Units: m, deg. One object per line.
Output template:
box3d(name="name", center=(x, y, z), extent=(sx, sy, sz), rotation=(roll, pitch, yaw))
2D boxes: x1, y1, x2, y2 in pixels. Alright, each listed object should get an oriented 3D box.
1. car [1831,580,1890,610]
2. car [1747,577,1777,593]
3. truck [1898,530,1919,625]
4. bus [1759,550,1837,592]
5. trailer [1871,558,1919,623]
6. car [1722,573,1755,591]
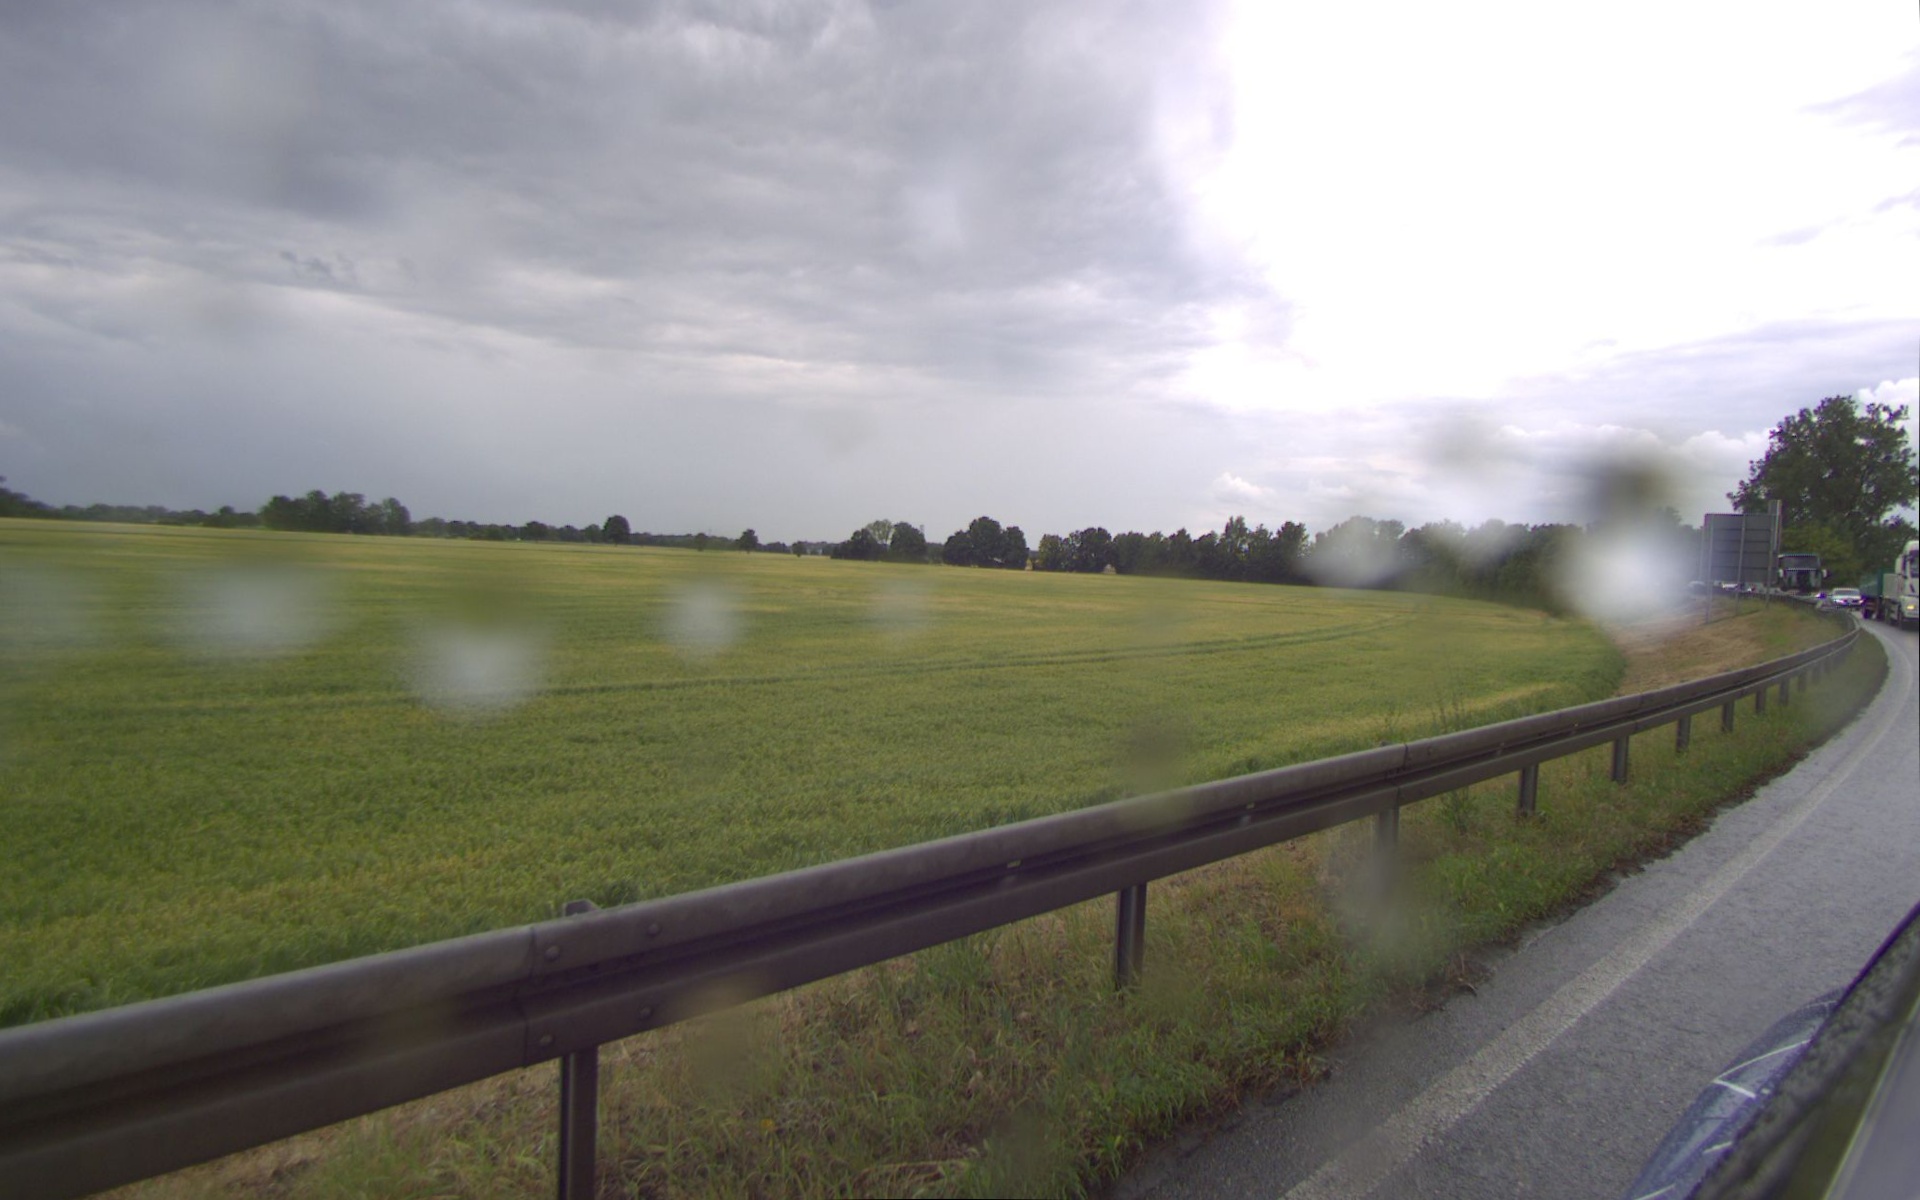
box3d(name="car", center=(58.364, -0.338, 65.690), extent=(2.028, 1.866, 5.273), rotation=(0, 0, 33))
box3d(name="car", center=(81.911, -1.540, 103.373), extent=(1.800, 1.597, 3.957), rotation=(0, 0, 30))
box3d(name="truck", center=(39.750, -0.887, 40.334), extent=(2.970, 3.655, 5.997), rotation=(0, 0, 38))
box3d(name="bus", center=(72.492, -2.488, 87.904), extent=(2.942, 3.354, 14.678), rotation=(0, 1, 31))
box3d(name="trailer", center=(44.956, -0.483, 46.972), extent=(2.970, 2.666, 15.465), rotation=(0, 1, 38))
box3d(name="car", center=(88.727, -2.022, 115.416), extent=(1.980, 2.039, 5.286), rotation=(0, 0, 27))
